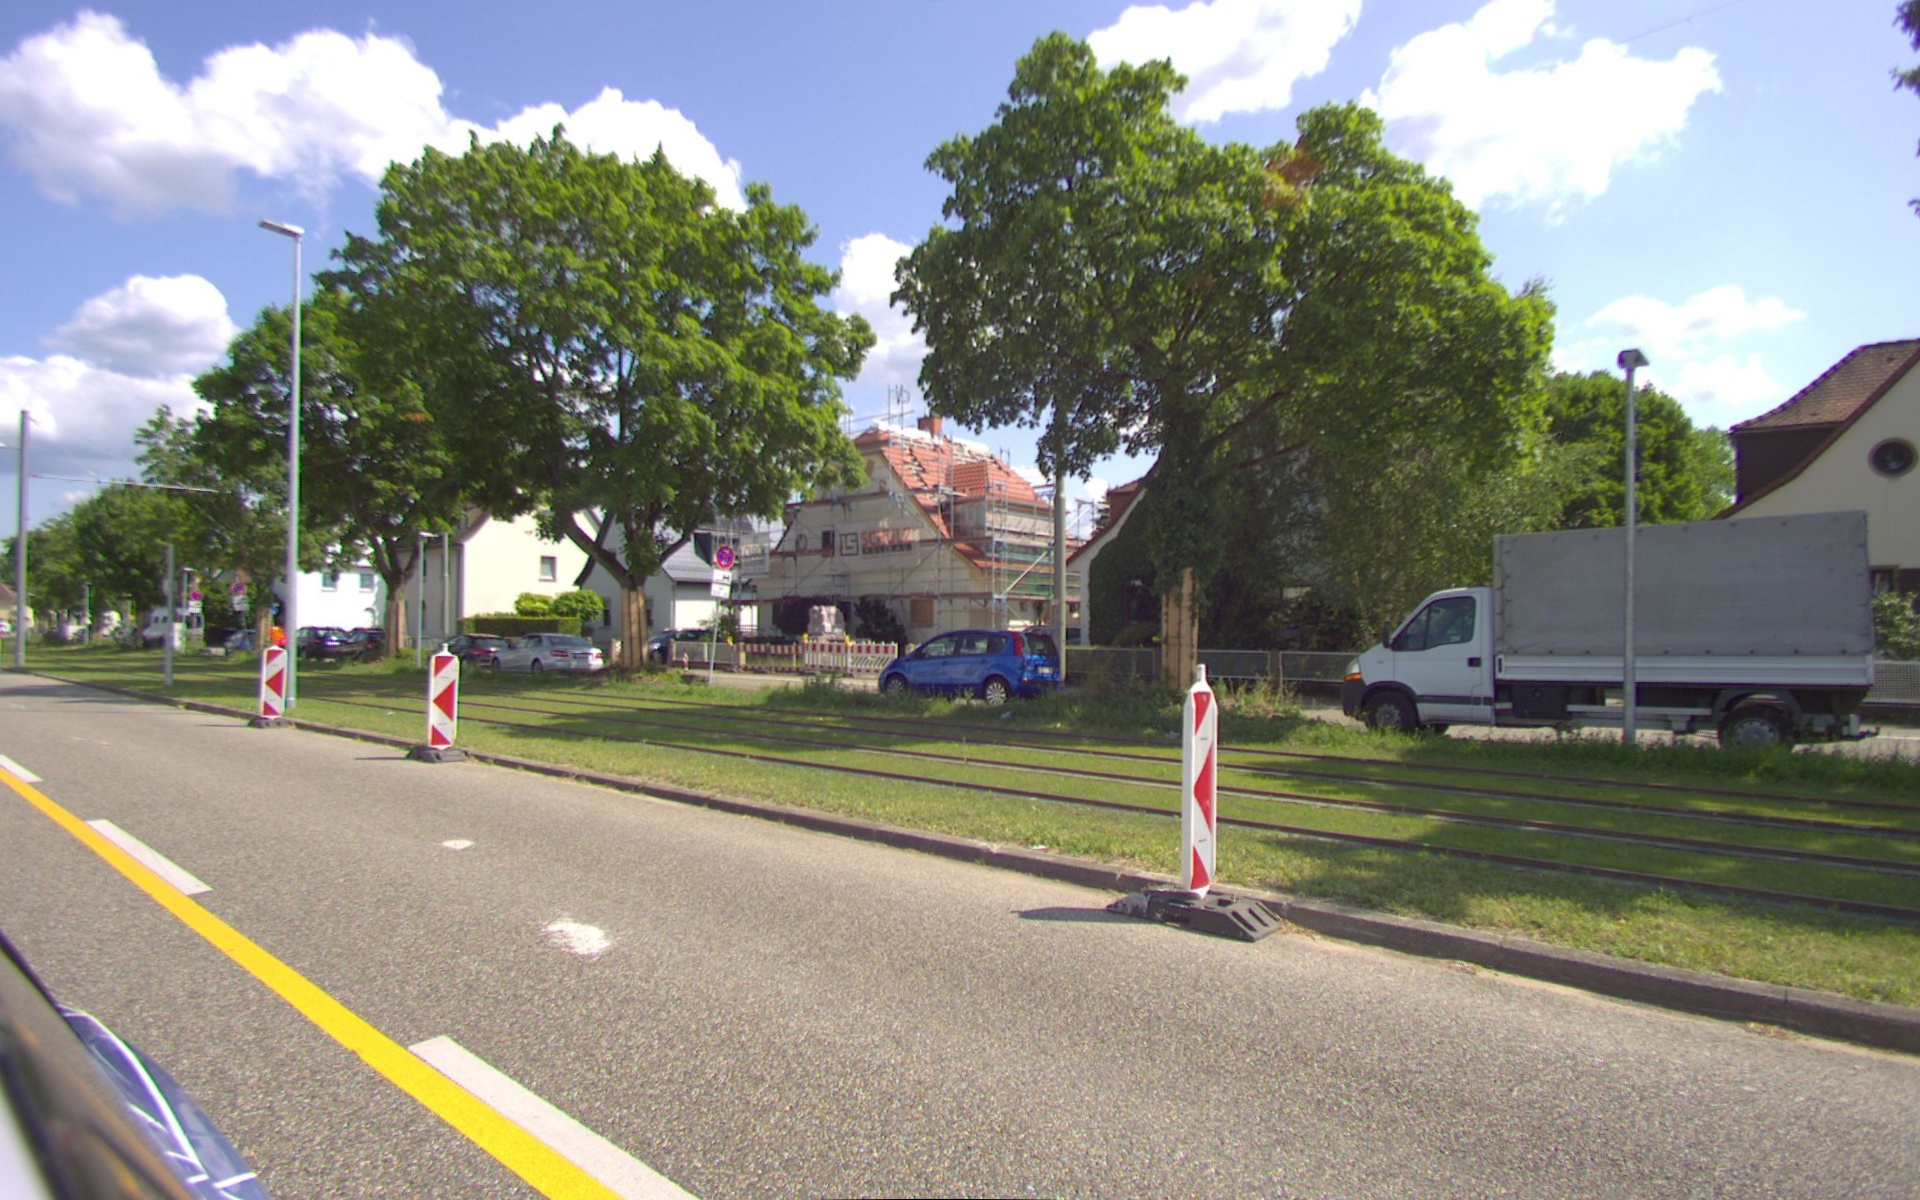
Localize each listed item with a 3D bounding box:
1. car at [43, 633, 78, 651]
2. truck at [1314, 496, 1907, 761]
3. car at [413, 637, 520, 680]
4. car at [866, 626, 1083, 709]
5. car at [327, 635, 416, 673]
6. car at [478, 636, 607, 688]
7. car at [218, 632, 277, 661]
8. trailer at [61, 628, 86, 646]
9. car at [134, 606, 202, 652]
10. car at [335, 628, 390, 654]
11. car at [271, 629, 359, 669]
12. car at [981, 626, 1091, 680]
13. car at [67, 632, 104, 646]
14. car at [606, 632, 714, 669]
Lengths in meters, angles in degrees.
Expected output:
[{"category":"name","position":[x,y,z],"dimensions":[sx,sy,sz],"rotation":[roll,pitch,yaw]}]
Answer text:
[{"category":"car","position":[-83.464,3.918,93.929],"dimensions":[4.099,1.590,1.885],"rotation":[-3,-7,42]},{"category":"truck","position":[8.154,0.445,13.438],"dimensions":[6.272,2.789,1.973],"rotation":[-2,-6,41]},{"category":"car","position":[-17.394,2.043,35.636],"dimensions":[3.850,1.328,1.973],"rotation":[-1,-5,41]},{"category":"car","position":[0.238,1.288,20.348],"dimensions":[3.996,1.464,1.974],"rotation":[-1,-3,39]},{"category":"car","position":[-24.778,2.260,42.572],"dimensions":[3.998,1.450,1.973],"rotation":[-1,-4,41]},{"category":"car","position":[-13.317,1.912,32.130],"dimensions":[4.937,1.494,1.786],"rotation":[-1,-3,42]},{"category":"car","position":[-37.215,2.405,52.818],"dimensions":[3.889,1.447,1.735],"rotation":[-1,-3,43]},{"category":"trailer","position":[-76.117,3.147,86.923],"dimensions":[2.281,1.530,1.286],"rotation":[-1,-3,41]},{"category":"car","position":[-50.479,1.880,64.451],"dimensions":[6.455,2.751,1.974],"rotation":[-2,-3,39]},{"category":"car","position":[-38.709,2.668,65.515],"dimensions":[3.998,1.589,1.883],"rotation":[-1,-3,41]},{"category":"car","position":[-29.557,2.207,46.339],"dimensions":[4.385,1.704,1.974],"rotation":[-1,-3,38]},{"category":"car","position":[2.579,1.743,33.737],"dimensions":[1.872,1.697,3.610],"rotation":[-1,-3,40]},{"category":"car","position":[-72.069,3.208,83.381],"dimensions":[3.834,1.101,1.762],"rotation":[-1,-3,41]},{"category":"car","position":[-12.629,2.092,42.690],"dimensions":[1.981,1.412,3.945],"rotation":[-1,-1,41]}]
